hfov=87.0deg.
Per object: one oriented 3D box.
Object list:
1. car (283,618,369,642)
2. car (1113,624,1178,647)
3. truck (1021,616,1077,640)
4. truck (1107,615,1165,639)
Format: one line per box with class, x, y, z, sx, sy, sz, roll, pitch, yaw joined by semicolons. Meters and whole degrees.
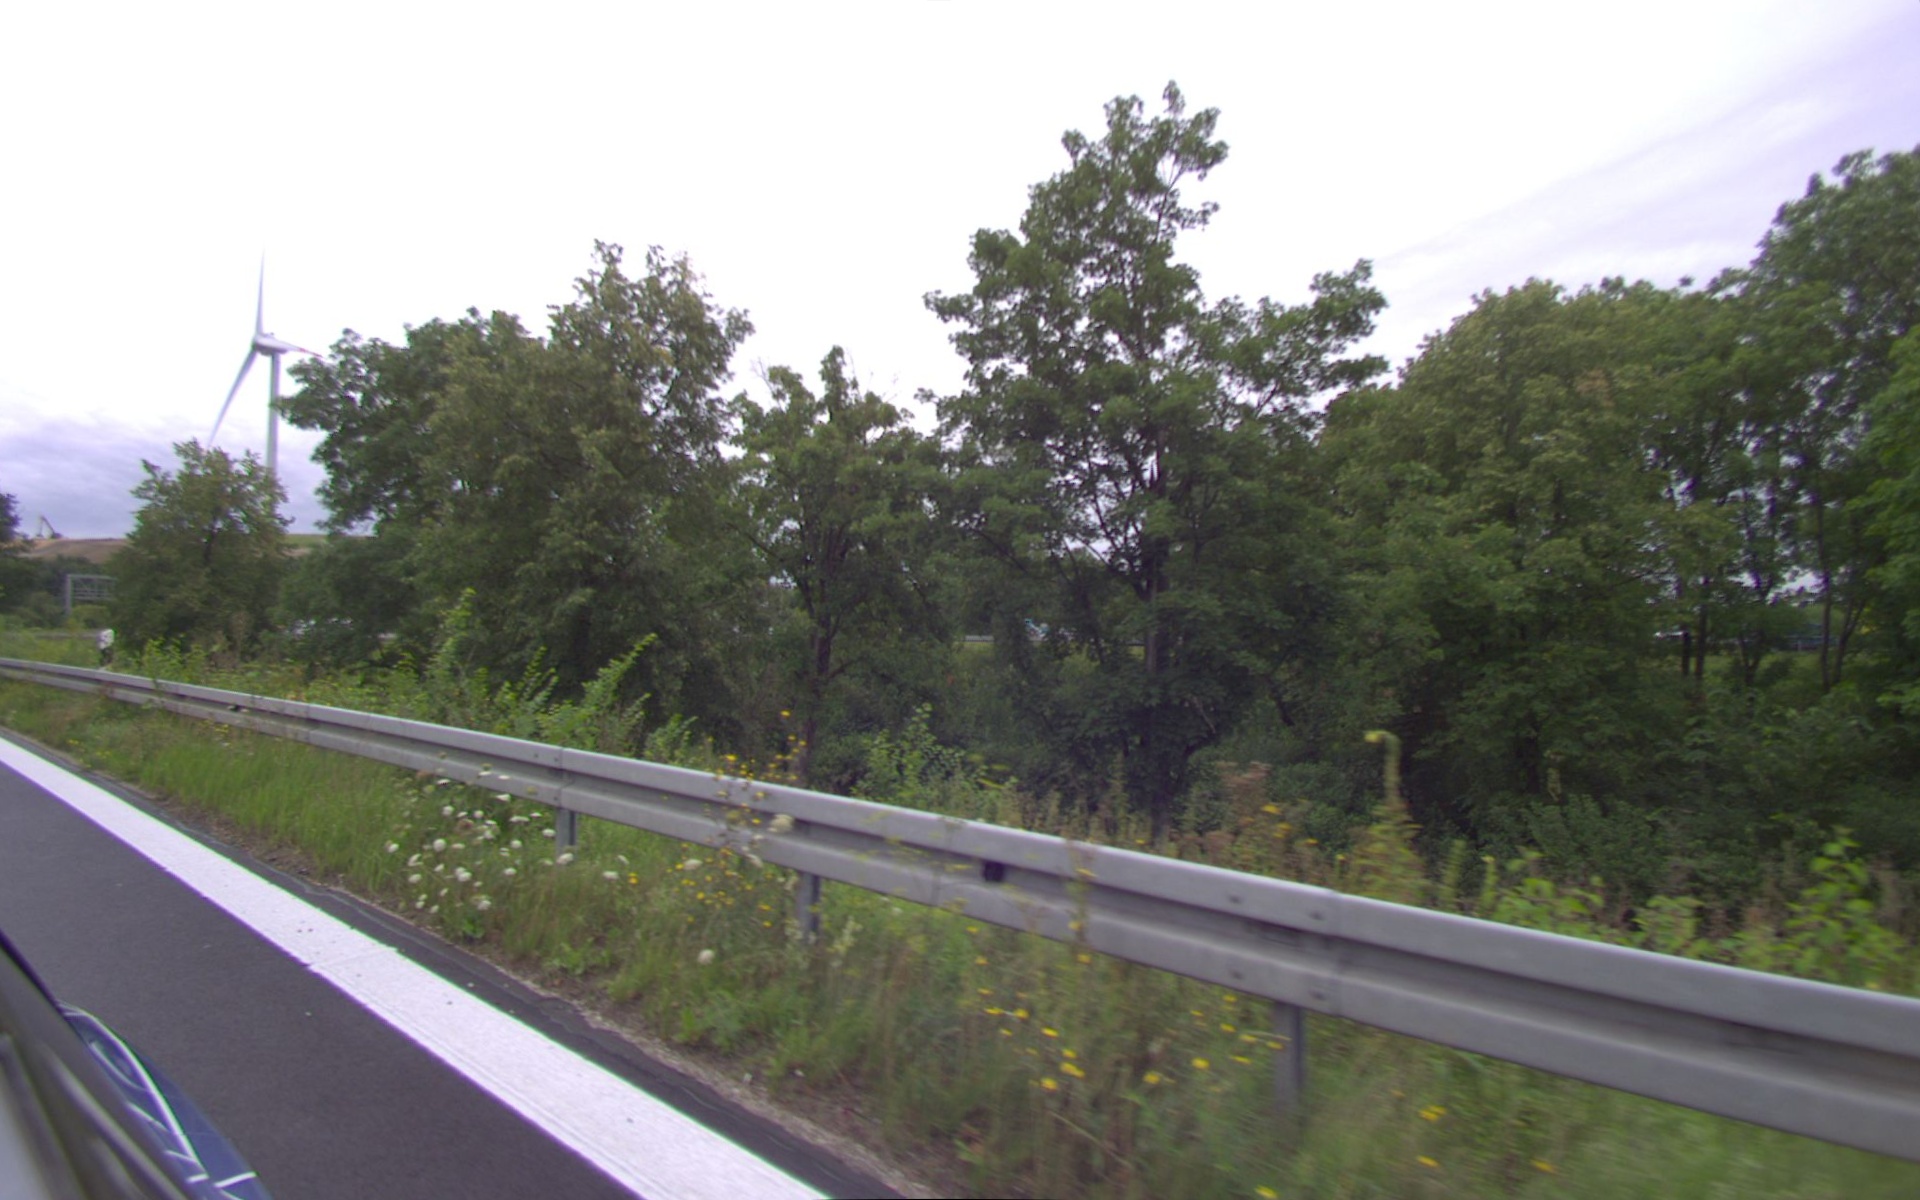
car;-81.611;3.832;130.309;9.966;3.005;2.734;0;-2;8
car;13.355;2.554;73.001;4.500;1.650;1.963;0;-1;8
truck;10.217;3.175;115.932;6.376;2.649;2.247;0;-2;8
truck;19.935;3.078;114.919;6.378;2.649;2.597;0;-2;9
